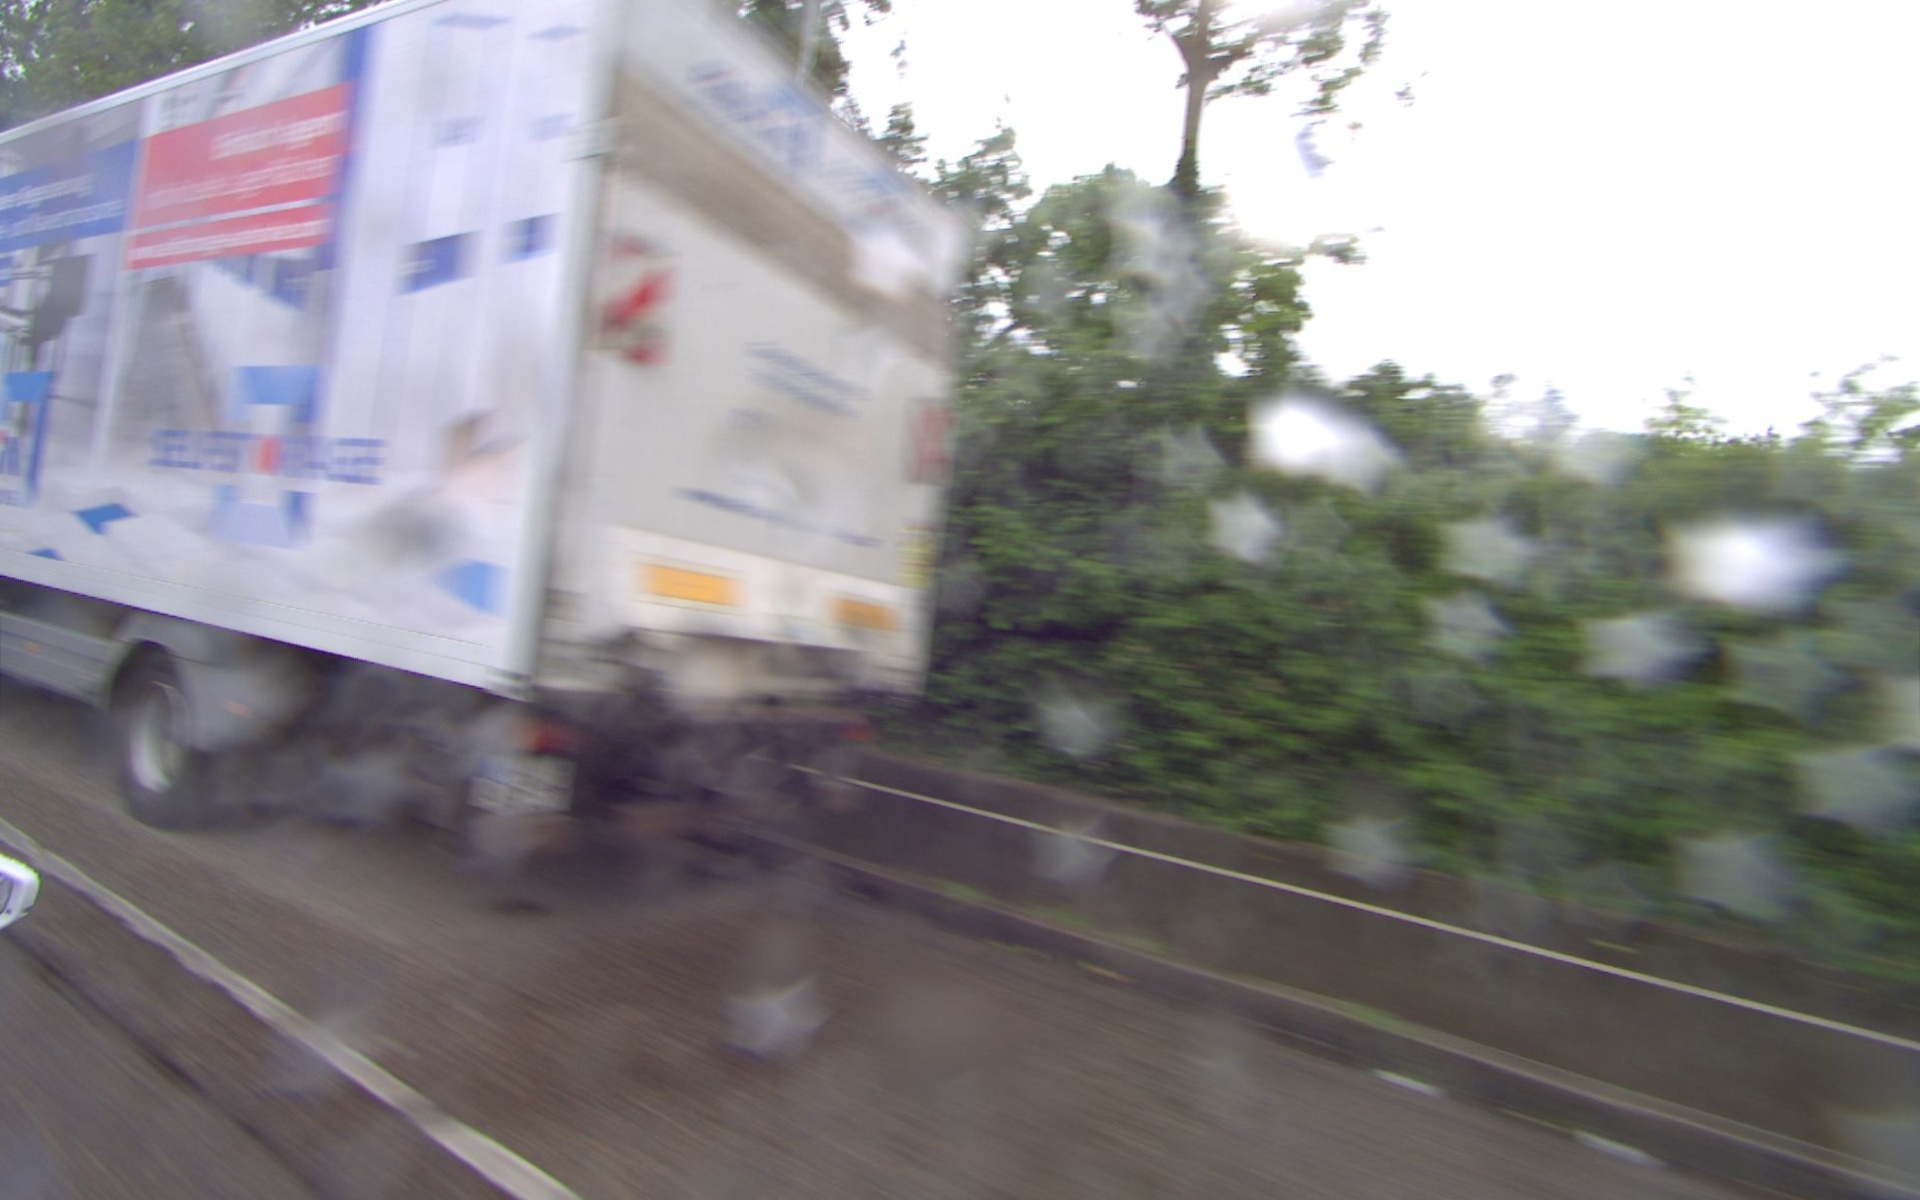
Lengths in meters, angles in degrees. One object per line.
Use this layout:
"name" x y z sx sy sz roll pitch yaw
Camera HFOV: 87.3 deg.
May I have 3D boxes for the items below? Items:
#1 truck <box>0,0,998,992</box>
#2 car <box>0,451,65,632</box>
"truck" -4.820 -0.869 7.012 9.686 3.748 2.781 6 -1 30
"car" -13.330 -0.970 12.459 4.898 2.037 1.880 7 -2 32
